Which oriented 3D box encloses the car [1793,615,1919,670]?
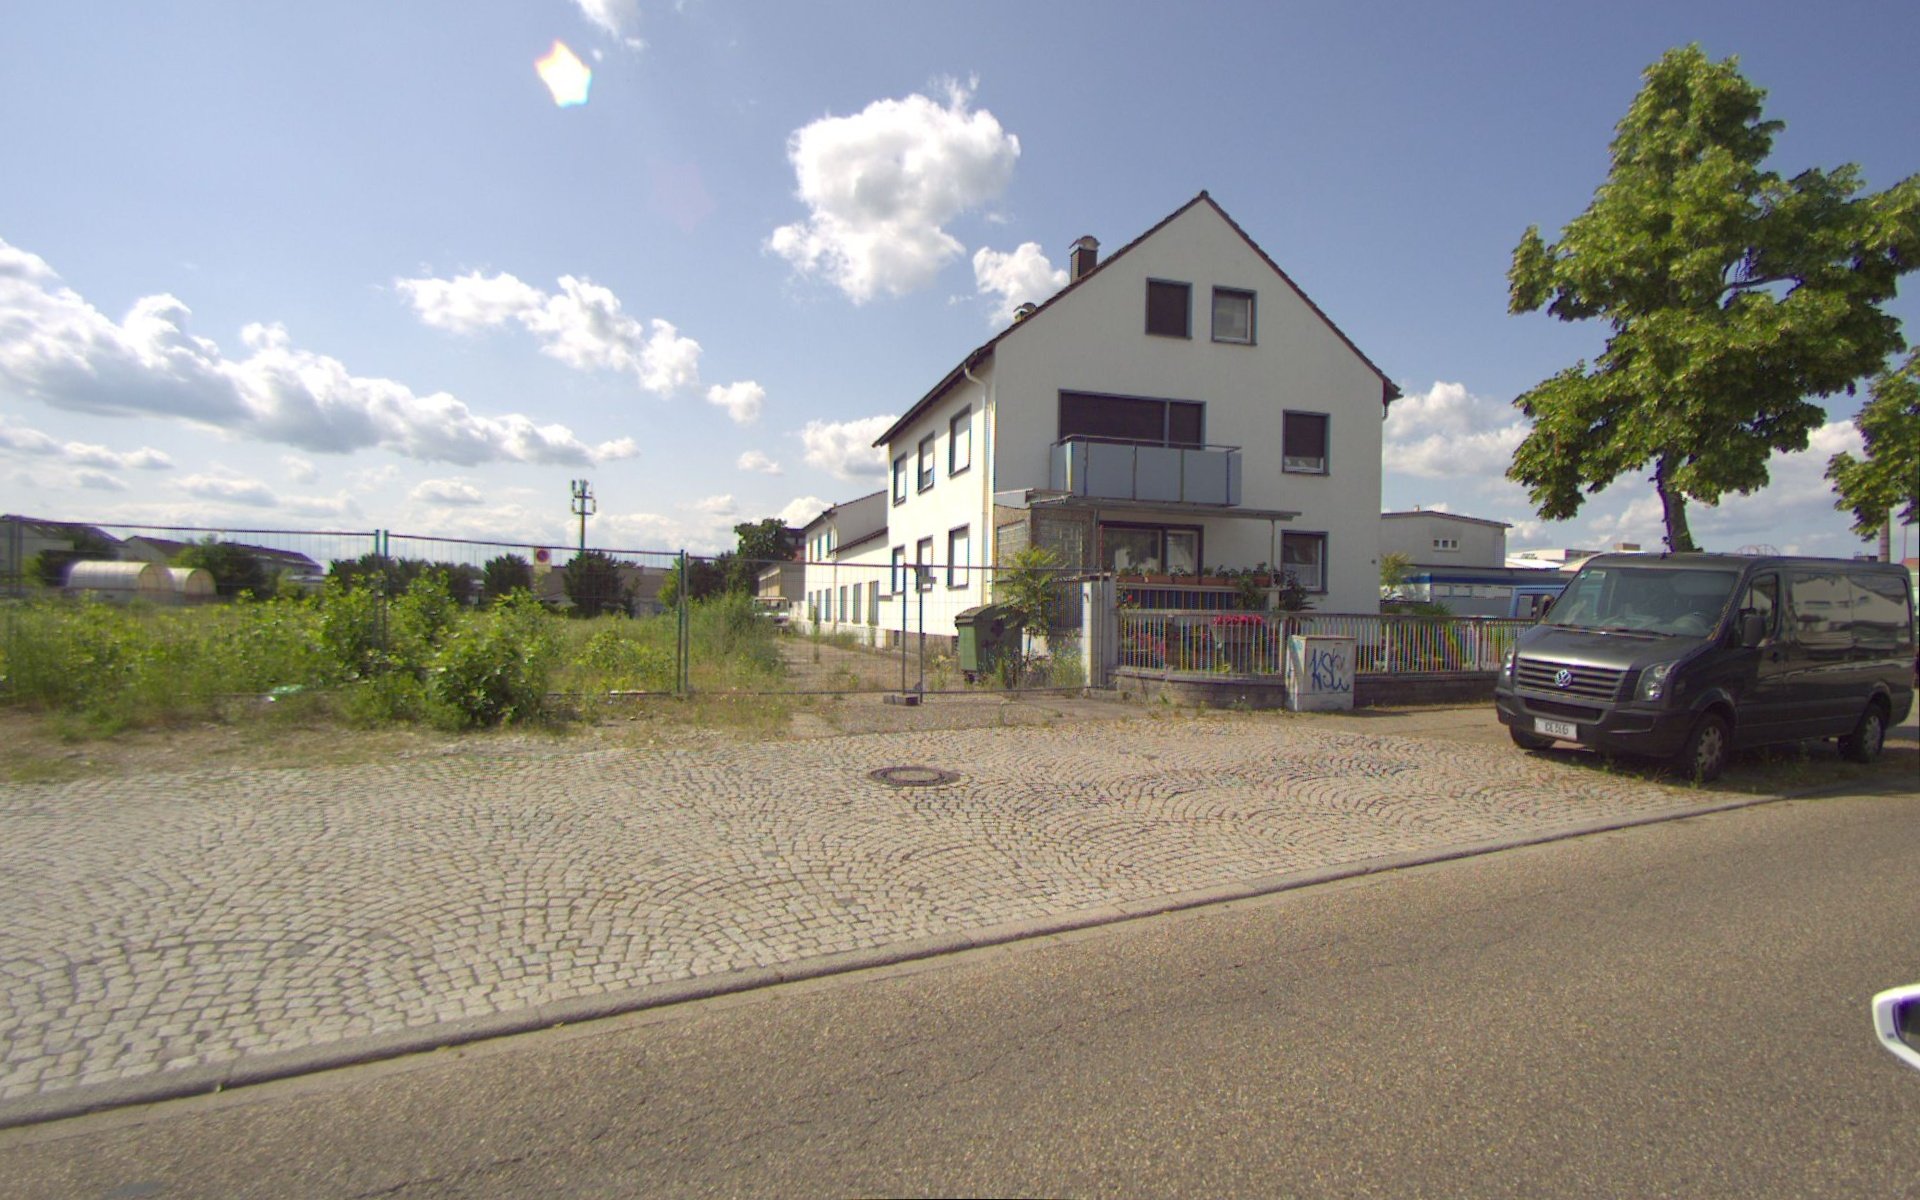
[{"bbox_3d":[29.002,1.291,31.375,1.806,1.636,4.274,1,-1,-30],"label":"car"}]

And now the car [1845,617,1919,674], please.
[{"bbox_3d":[31.588,1.497,32.443,1.804,1.812,4.129,2,-2,-27],"label":"car"}]

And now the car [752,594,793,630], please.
[{"bbox_3d":[-11.156,0.732,59.704,1.968,2.040,3.986,1,-1,-16],"label":"car"}]

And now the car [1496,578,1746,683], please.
[{"bbox_3d":[15.944,0.719,24.631,1.968,2.261,4.999,2,-1,-17],"label":"car"}]

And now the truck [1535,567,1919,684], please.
[{"bbox_3d":[22.202,0.716,29.682,2.684,2.894,9.231,1,-1,-25],"label":"truck"}]

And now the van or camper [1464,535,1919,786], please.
[{"bbox_3d":[8.676,0.577,11.601,5.859,2.348,1.985,1,3,-28],"label":"van or camper"}]

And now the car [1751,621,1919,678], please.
[{"bbox_3d":[26.915,1.434,30.294,1.804,1.603,4.508,1,-1,-27],"label":"car"}]

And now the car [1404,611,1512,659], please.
[{"bbox_3d":[19.216,1.348,38.752,3.869,1.780,1.637,1,0,-25],"label":"car"}]

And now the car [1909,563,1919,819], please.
[{"bbox_3d":[10.397,0.758,8.544,5.082,2.061,2.041,2,-3,-31],"label":"car"}]

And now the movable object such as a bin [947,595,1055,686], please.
[{"bbox_3d":[0.721,0.714,18.378,1.575,1.451,1.310,-5,1,-14],"label":"movable object such as a bin"}]

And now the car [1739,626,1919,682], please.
[{"bbox_3d":[25.115,1.483,28.720,1.657,1.478,4.182,1,-2,-27],"label":"car"}]
